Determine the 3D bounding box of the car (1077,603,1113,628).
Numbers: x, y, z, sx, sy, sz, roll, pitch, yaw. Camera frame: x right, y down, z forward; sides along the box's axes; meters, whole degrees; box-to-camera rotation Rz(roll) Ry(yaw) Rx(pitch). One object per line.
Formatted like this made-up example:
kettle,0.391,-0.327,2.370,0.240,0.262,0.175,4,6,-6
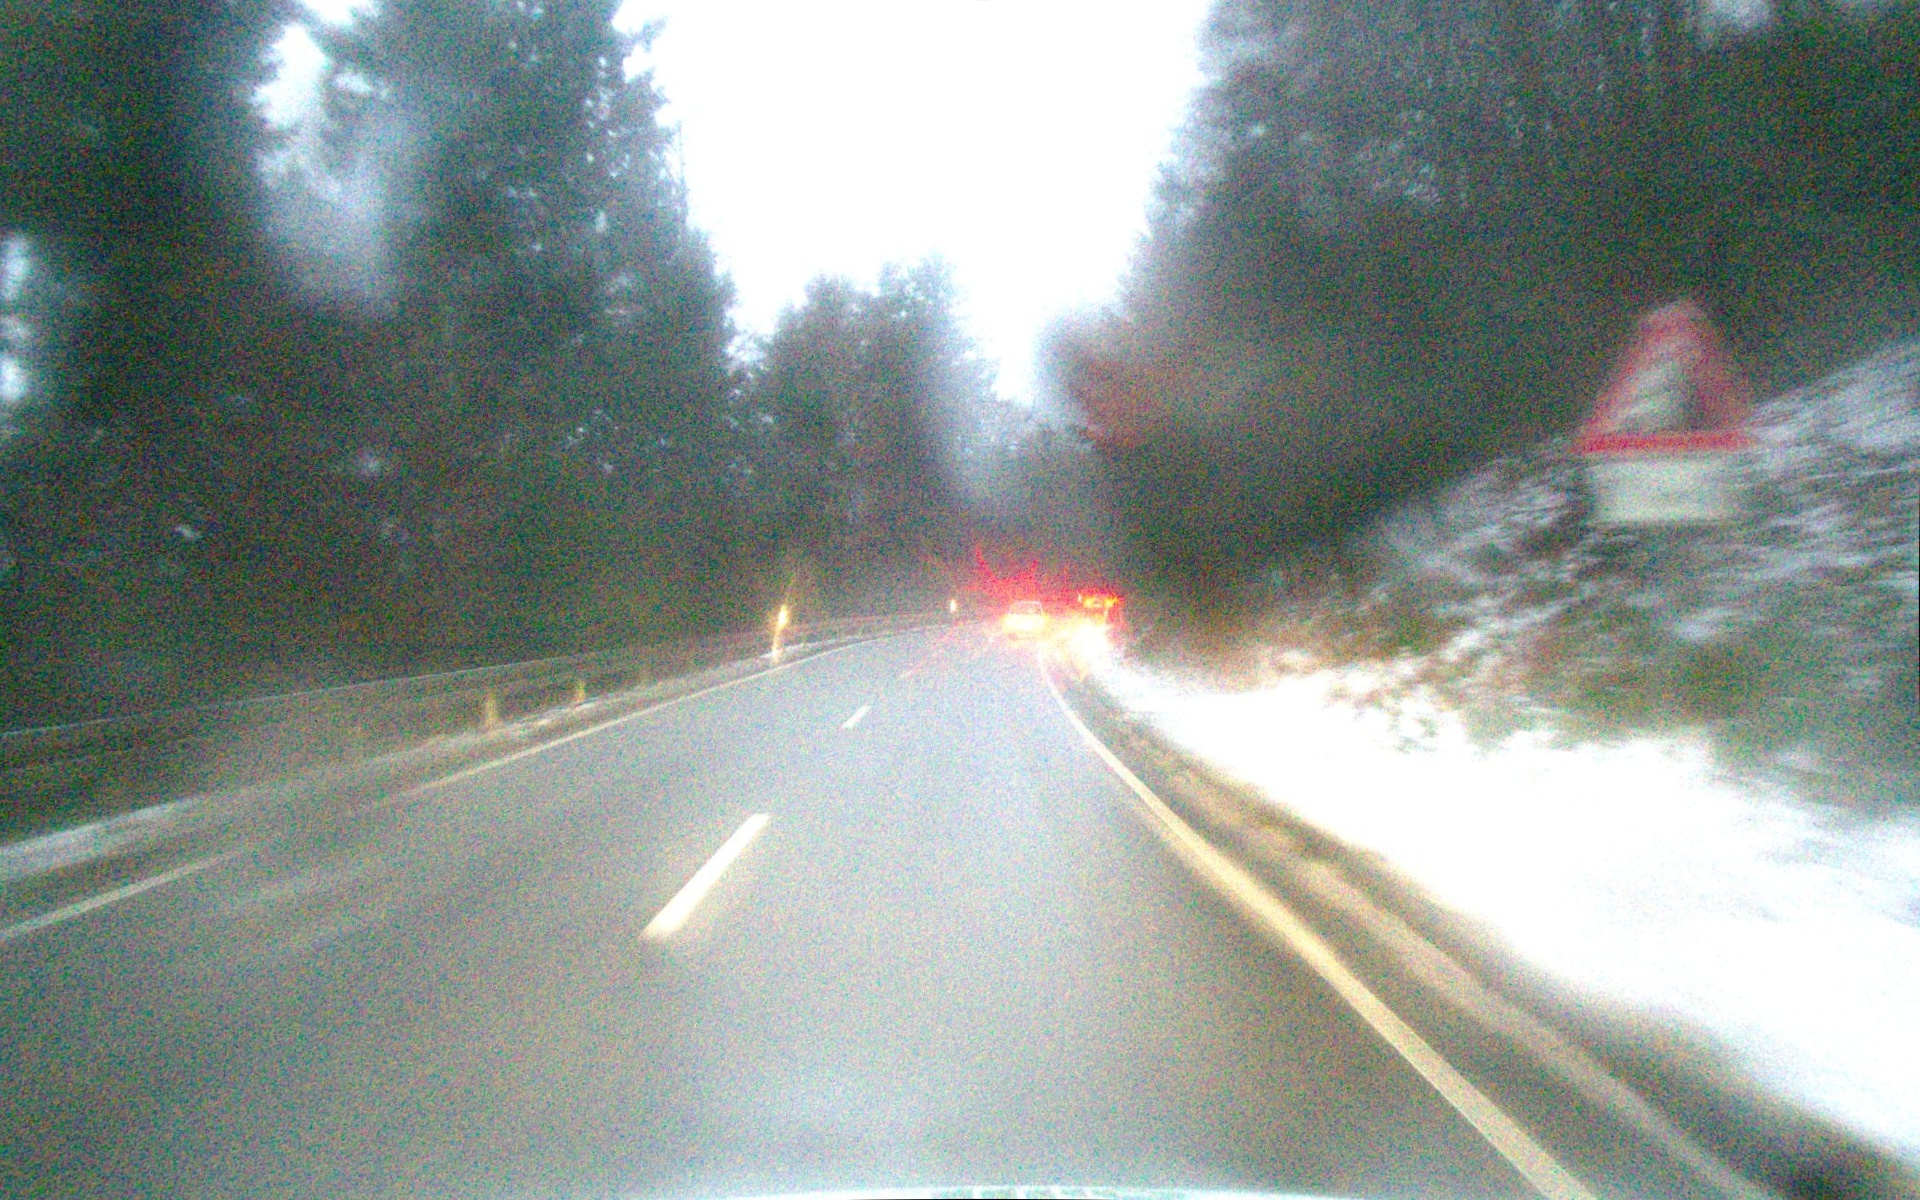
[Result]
car,8.226,0.926,100.734,1.951,1.333,4.003,-2,0,8

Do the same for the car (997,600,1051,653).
car,2.513,0.999,64.290,1.952,1.905,4.002,-2,0,3
